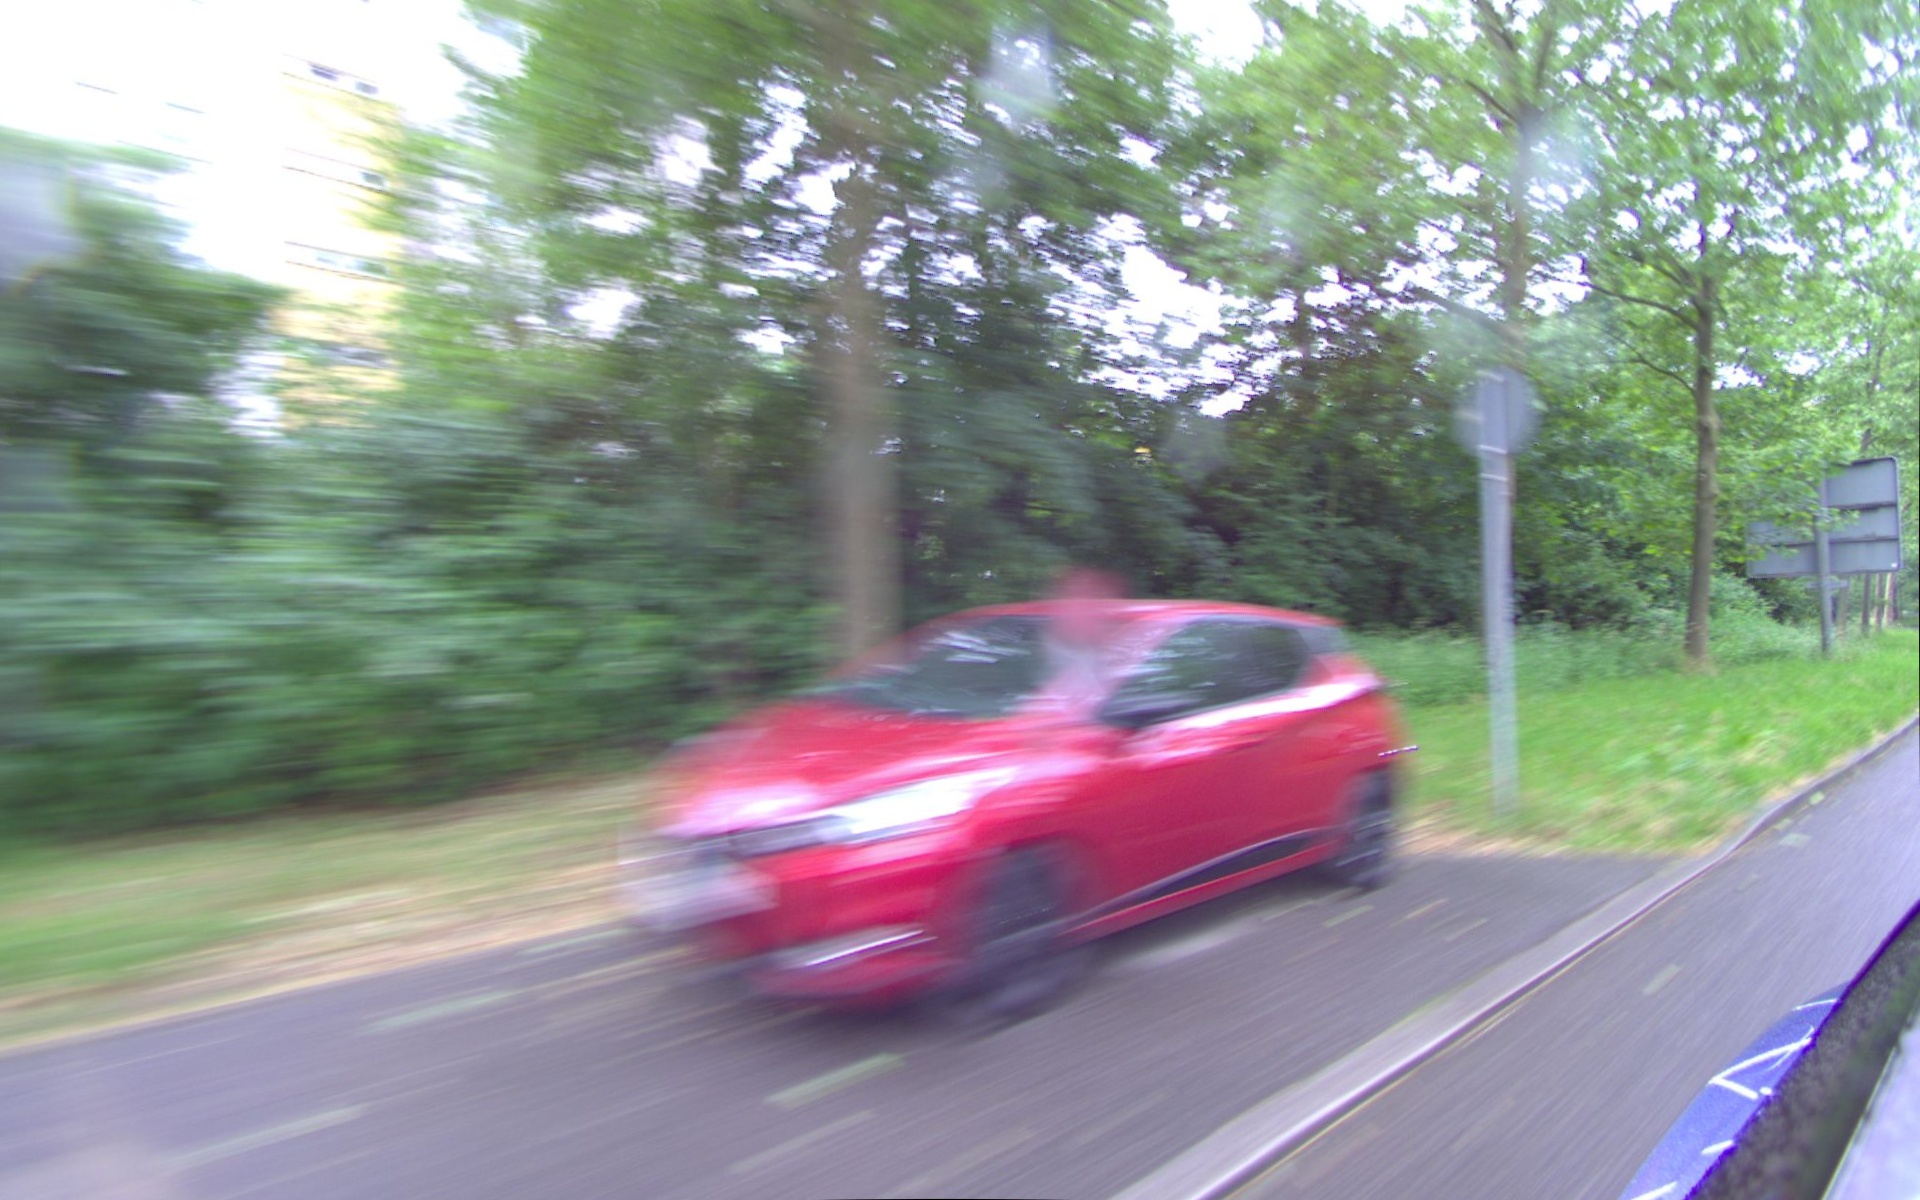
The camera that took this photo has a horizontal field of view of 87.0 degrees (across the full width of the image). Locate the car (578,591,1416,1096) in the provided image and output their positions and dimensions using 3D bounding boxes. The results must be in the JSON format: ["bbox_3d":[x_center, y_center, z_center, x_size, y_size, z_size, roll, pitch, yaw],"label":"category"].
[{"bbox_3d":[0.391,0.655,4.696,3.679,1.389,1.800,-1,1,-41],"label":"car"}]
